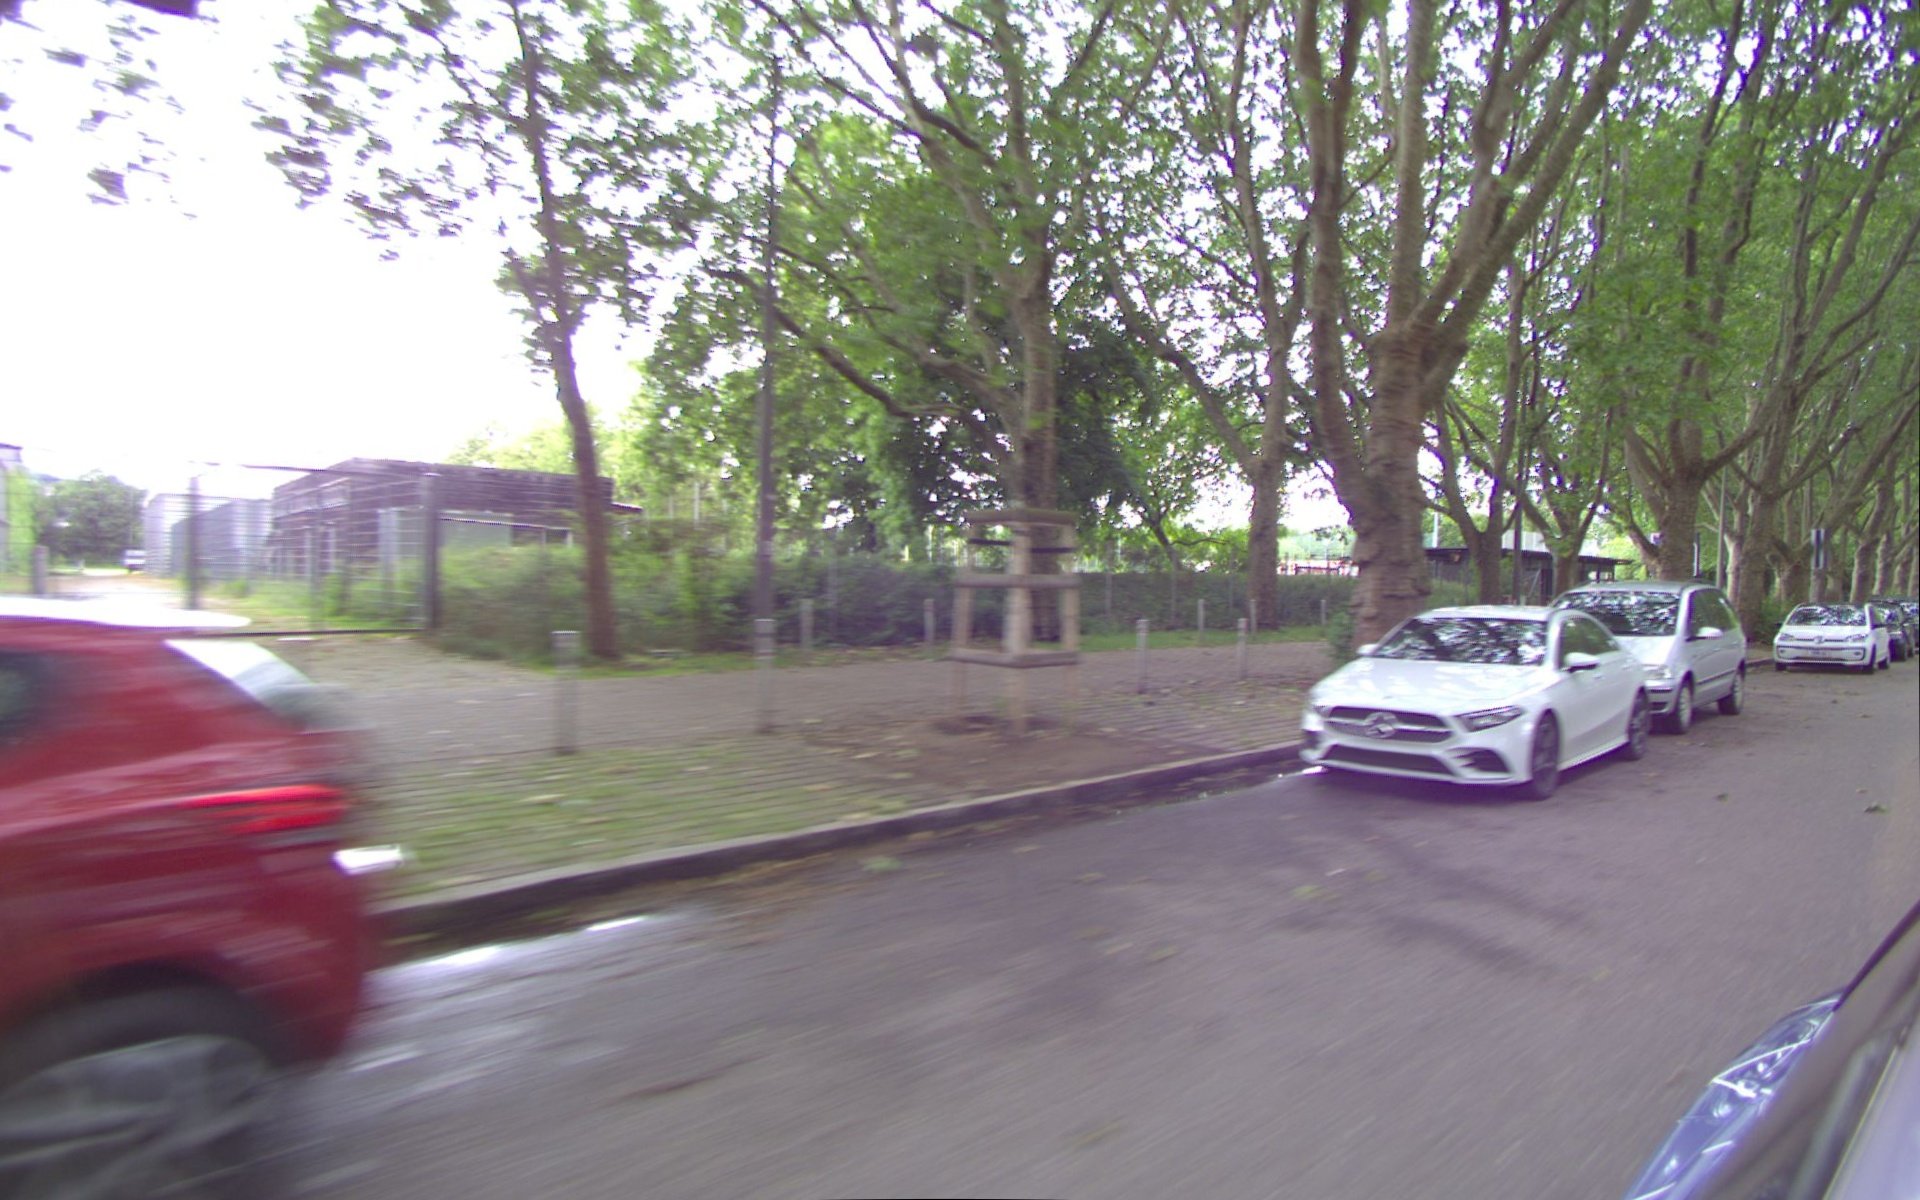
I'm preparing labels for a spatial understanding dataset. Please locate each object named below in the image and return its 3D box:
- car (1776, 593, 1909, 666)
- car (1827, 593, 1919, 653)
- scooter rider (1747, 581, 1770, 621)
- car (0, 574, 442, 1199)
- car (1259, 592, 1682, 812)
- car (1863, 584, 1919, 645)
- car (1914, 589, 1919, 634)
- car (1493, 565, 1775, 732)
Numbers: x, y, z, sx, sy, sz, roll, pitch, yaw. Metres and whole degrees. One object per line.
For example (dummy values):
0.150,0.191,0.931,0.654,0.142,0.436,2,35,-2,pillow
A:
19.192,0.578,21.962,3.821,1.445,1.710,0,0,-41,car
24.128,0.546,26.546,4.288,1.433,1.709,0,1,-44,car
37.544,0.040,47.569,0.577,1.822,0.678,1,3,-41,scooter rider
-3.453,0.691,1.893,4.105,1.500,1.859,0,1,-42,car
4.725,0.675,9.029,4.507,1.445,1.880,0,1,-42,car
28.405,0.394,30.238,4.552,1.720,1.709,0,0,-43,car
37.866,0.442,38.627,4.559,1.694,1.780,0,1,-43,car
8.630,0.480,12.804,4.428,1.760,1.906,0,1,-42,car
